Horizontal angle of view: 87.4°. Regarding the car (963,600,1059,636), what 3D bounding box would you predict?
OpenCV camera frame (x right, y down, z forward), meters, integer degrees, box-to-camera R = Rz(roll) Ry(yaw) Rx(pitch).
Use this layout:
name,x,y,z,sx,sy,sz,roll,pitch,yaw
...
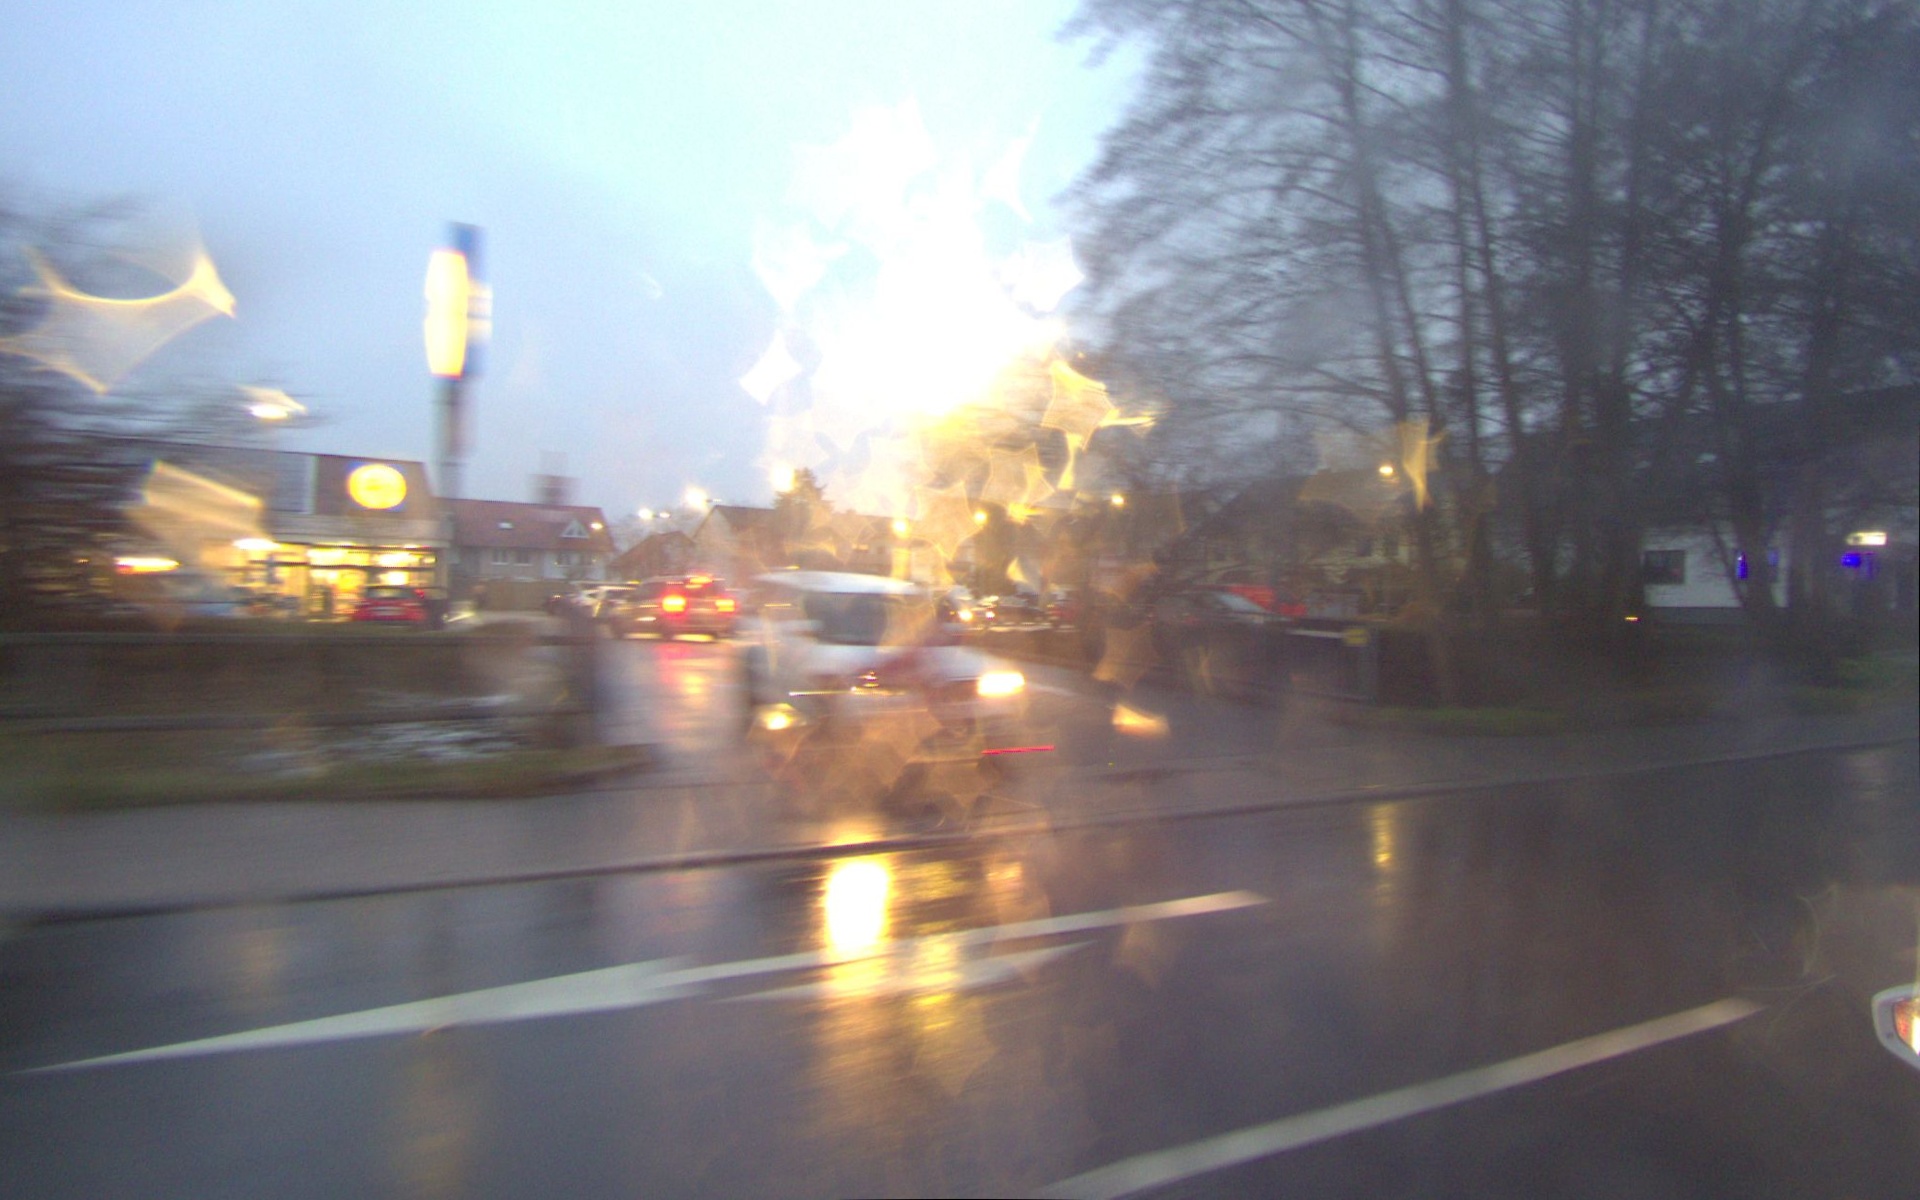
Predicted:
name,x,y,z,sx,sy,sz,roll,pitch,yaw
car,2.647,0.883,51.561,4.611,1.590,2.035,-1,3,-33

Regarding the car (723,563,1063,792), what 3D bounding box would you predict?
name,x,y,z,sx,sy,sz,roll,pitch,yaw
car,-0.935,0.569,10.296,1.876,1.722,4.208,1,3,-28

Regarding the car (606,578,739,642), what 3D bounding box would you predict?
name,x,y,z,sx,sy,sz,roll,pitch,yaw
car,-8.320,0.222,28.848,1.954,1.694,4.366,-1,1,-42

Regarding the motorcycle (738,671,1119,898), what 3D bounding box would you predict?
name,x,y,z,sx,sy,sz,roll,pitch,yaw
motorcycle,-0.160,0.988,5.938,2.085,1.037,0.861,1,1,-30

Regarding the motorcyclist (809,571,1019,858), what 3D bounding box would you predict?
name,x,y,z,sx,sy,sz,roll,pitch,yaw
motorcyclist,-0.287,0.597,5.849,0.898,1.505,0.861,1,1,-30

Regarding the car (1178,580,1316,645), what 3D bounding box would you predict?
name,x,y,z,sx,sy,sz,roll,pitch,yaw
car,11.167,0.398,38.930,5.212,2.310,2.267,-1,3,-33

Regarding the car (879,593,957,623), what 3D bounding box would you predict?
name,x,y,z,sx,sy,sz,roll,pitch,yaw
car,-2.587,0.484,61.947,4.470,1.662,1.919,-1,4,-33

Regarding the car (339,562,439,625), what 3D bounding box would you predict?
name,x,y,z,sx,sy,sz,roll,pitch,yaw
car,-15.743,-0.147,27.589,2.034,1.584,4.402,0,0,-34

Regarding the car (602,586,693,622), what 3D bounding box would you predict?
name,x,y,z,sx,sy,sz,roll,pitch,yaw
car,-15.606,0.146,50.271,3.964,1.639,1.897,-1,3,-38

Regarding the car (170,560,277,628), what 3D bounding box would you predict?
name,x,y,z,sx,sy,sz,roll,pitch,yaw
car,-18.859,-0.112,25.903,2.034,1.584,4.402,0,0,-34

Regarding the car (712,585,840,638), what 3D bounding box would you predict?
name,x,y,z,sx,sy,sz,roll,pitch,yaw
car,-6.324,0.336,34.770,3.964,1.639,1.897,-1,3,-38

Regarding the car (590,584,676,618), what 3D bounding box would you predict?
name,x,y,z,sx,sy,sz,roll,pitch,yaw
car,-17.305,0.009,53.176,3.964,1.639,1.897,-1,3,-38

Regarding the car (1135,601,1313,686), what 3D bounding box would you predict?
name,x,y,z,sx,sy,sz,roll,pitch,yaw
car,7.533,1.157,29.039,2.110,2.004,4.607,-1,3,-39

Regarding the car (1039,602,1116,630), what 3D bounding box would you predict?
name,x,y,z,sx,sy,sz,roll,pitch,yaw
car,5.457,0.712,46.582,3.356,1.146,1.551,-1,4,-33
